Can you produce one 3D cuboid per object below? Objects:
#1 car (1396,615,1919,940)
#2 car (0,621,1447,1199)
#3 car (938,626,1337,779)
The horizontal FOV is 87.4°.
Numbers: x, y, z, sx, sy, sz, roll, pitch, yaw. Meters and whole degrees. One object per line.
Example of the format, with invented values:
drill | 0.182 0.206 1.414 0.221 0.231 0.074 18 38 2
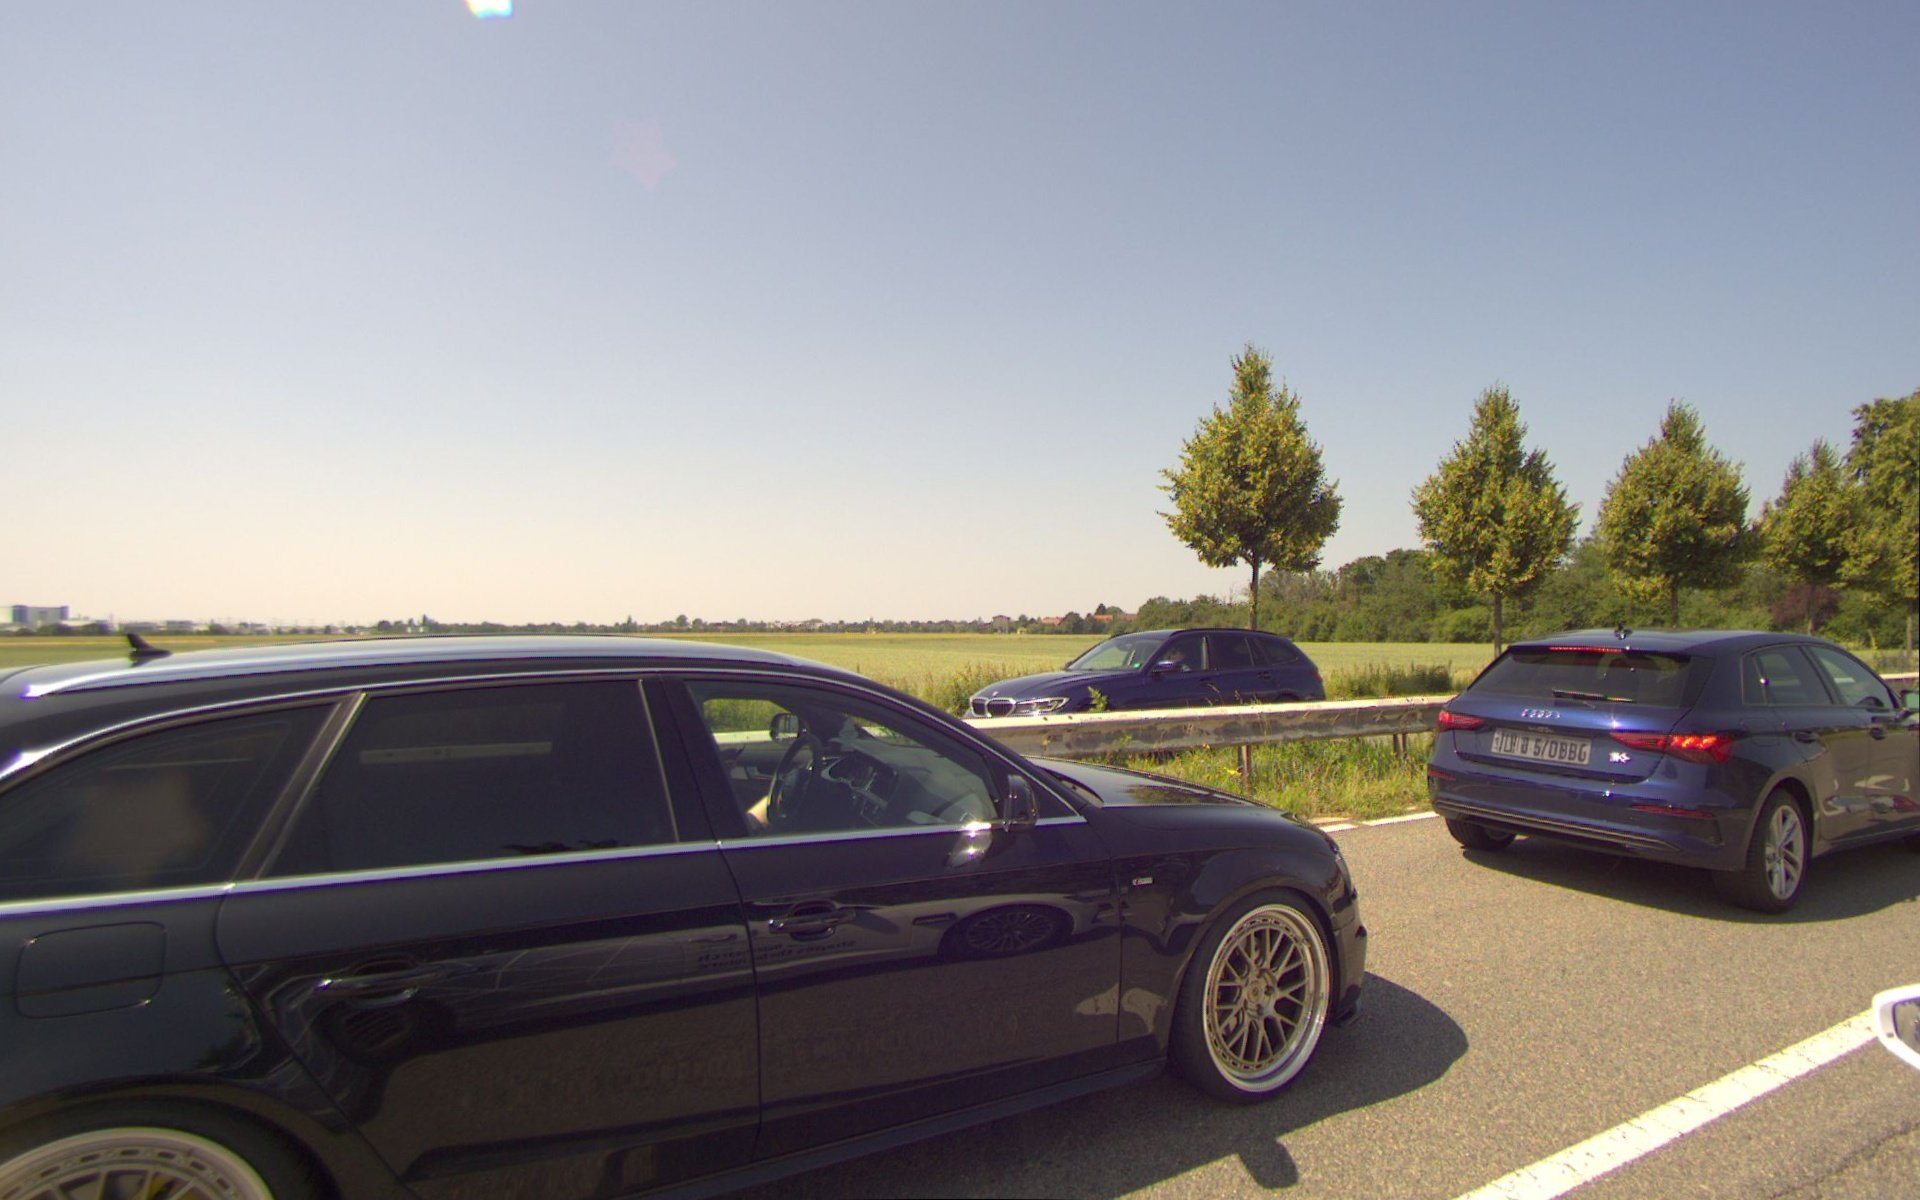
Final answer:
car | 4.809 0.863 6.411 3.982 1.484 1.709 1 0 -30
car | -0.681 0.792 3.062 4.402 1.399 1.732 1 0 -30
car | 2.124 1.052 11.675 4.452 1.473 1.870 1 -2 -31
